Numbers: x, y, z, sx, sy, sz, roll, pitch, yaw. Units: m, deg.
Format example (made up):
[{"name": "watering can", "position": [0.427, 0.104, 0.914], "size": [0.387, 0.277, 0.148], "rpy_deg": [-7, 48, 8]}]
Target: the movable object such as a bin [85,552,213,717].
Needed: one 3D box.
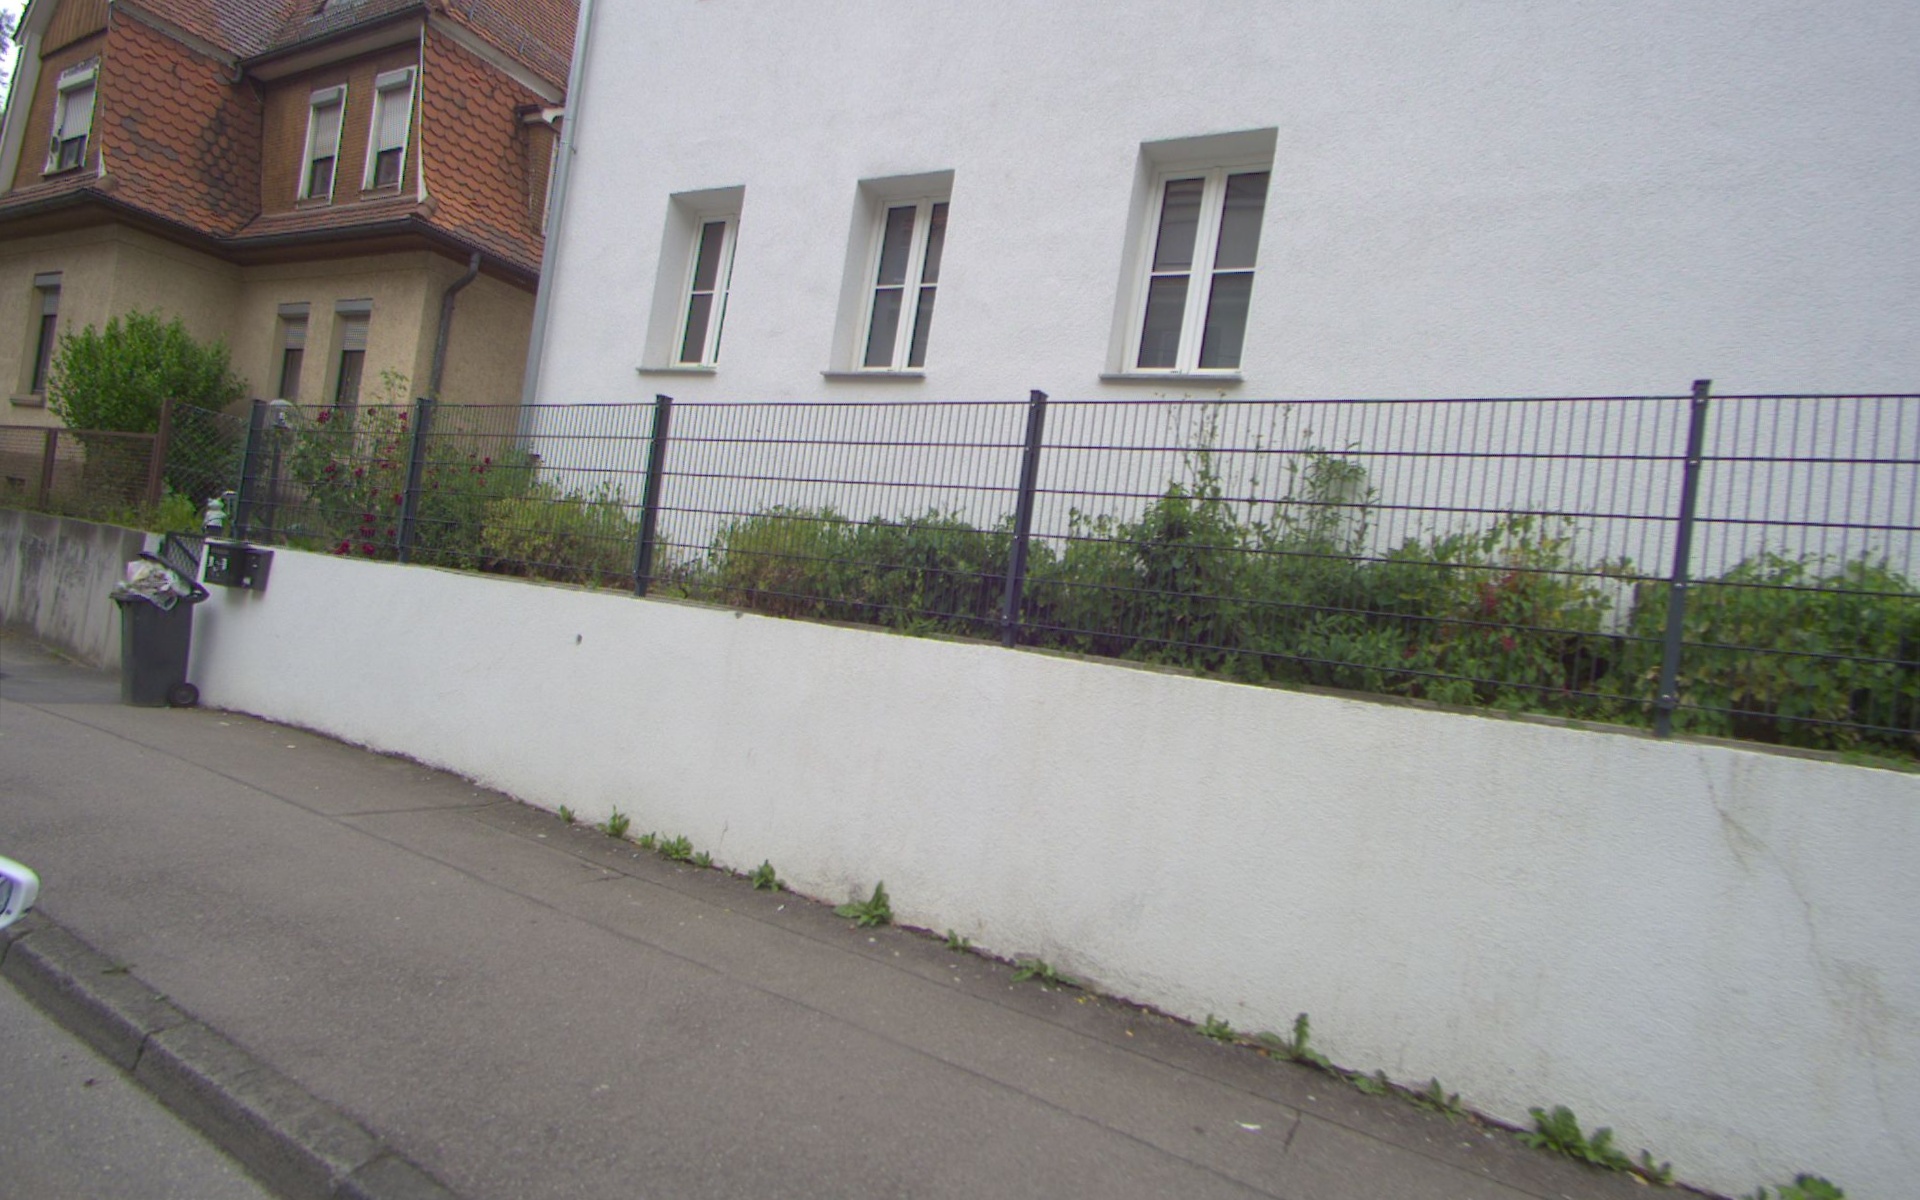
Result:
[{"name": "movable object such as a bin", "position": [-6.377, 0.263, 7.913], "size": [0.623, 1.193, 0.528], "rpy_deg": [7, 2, 30]}]
